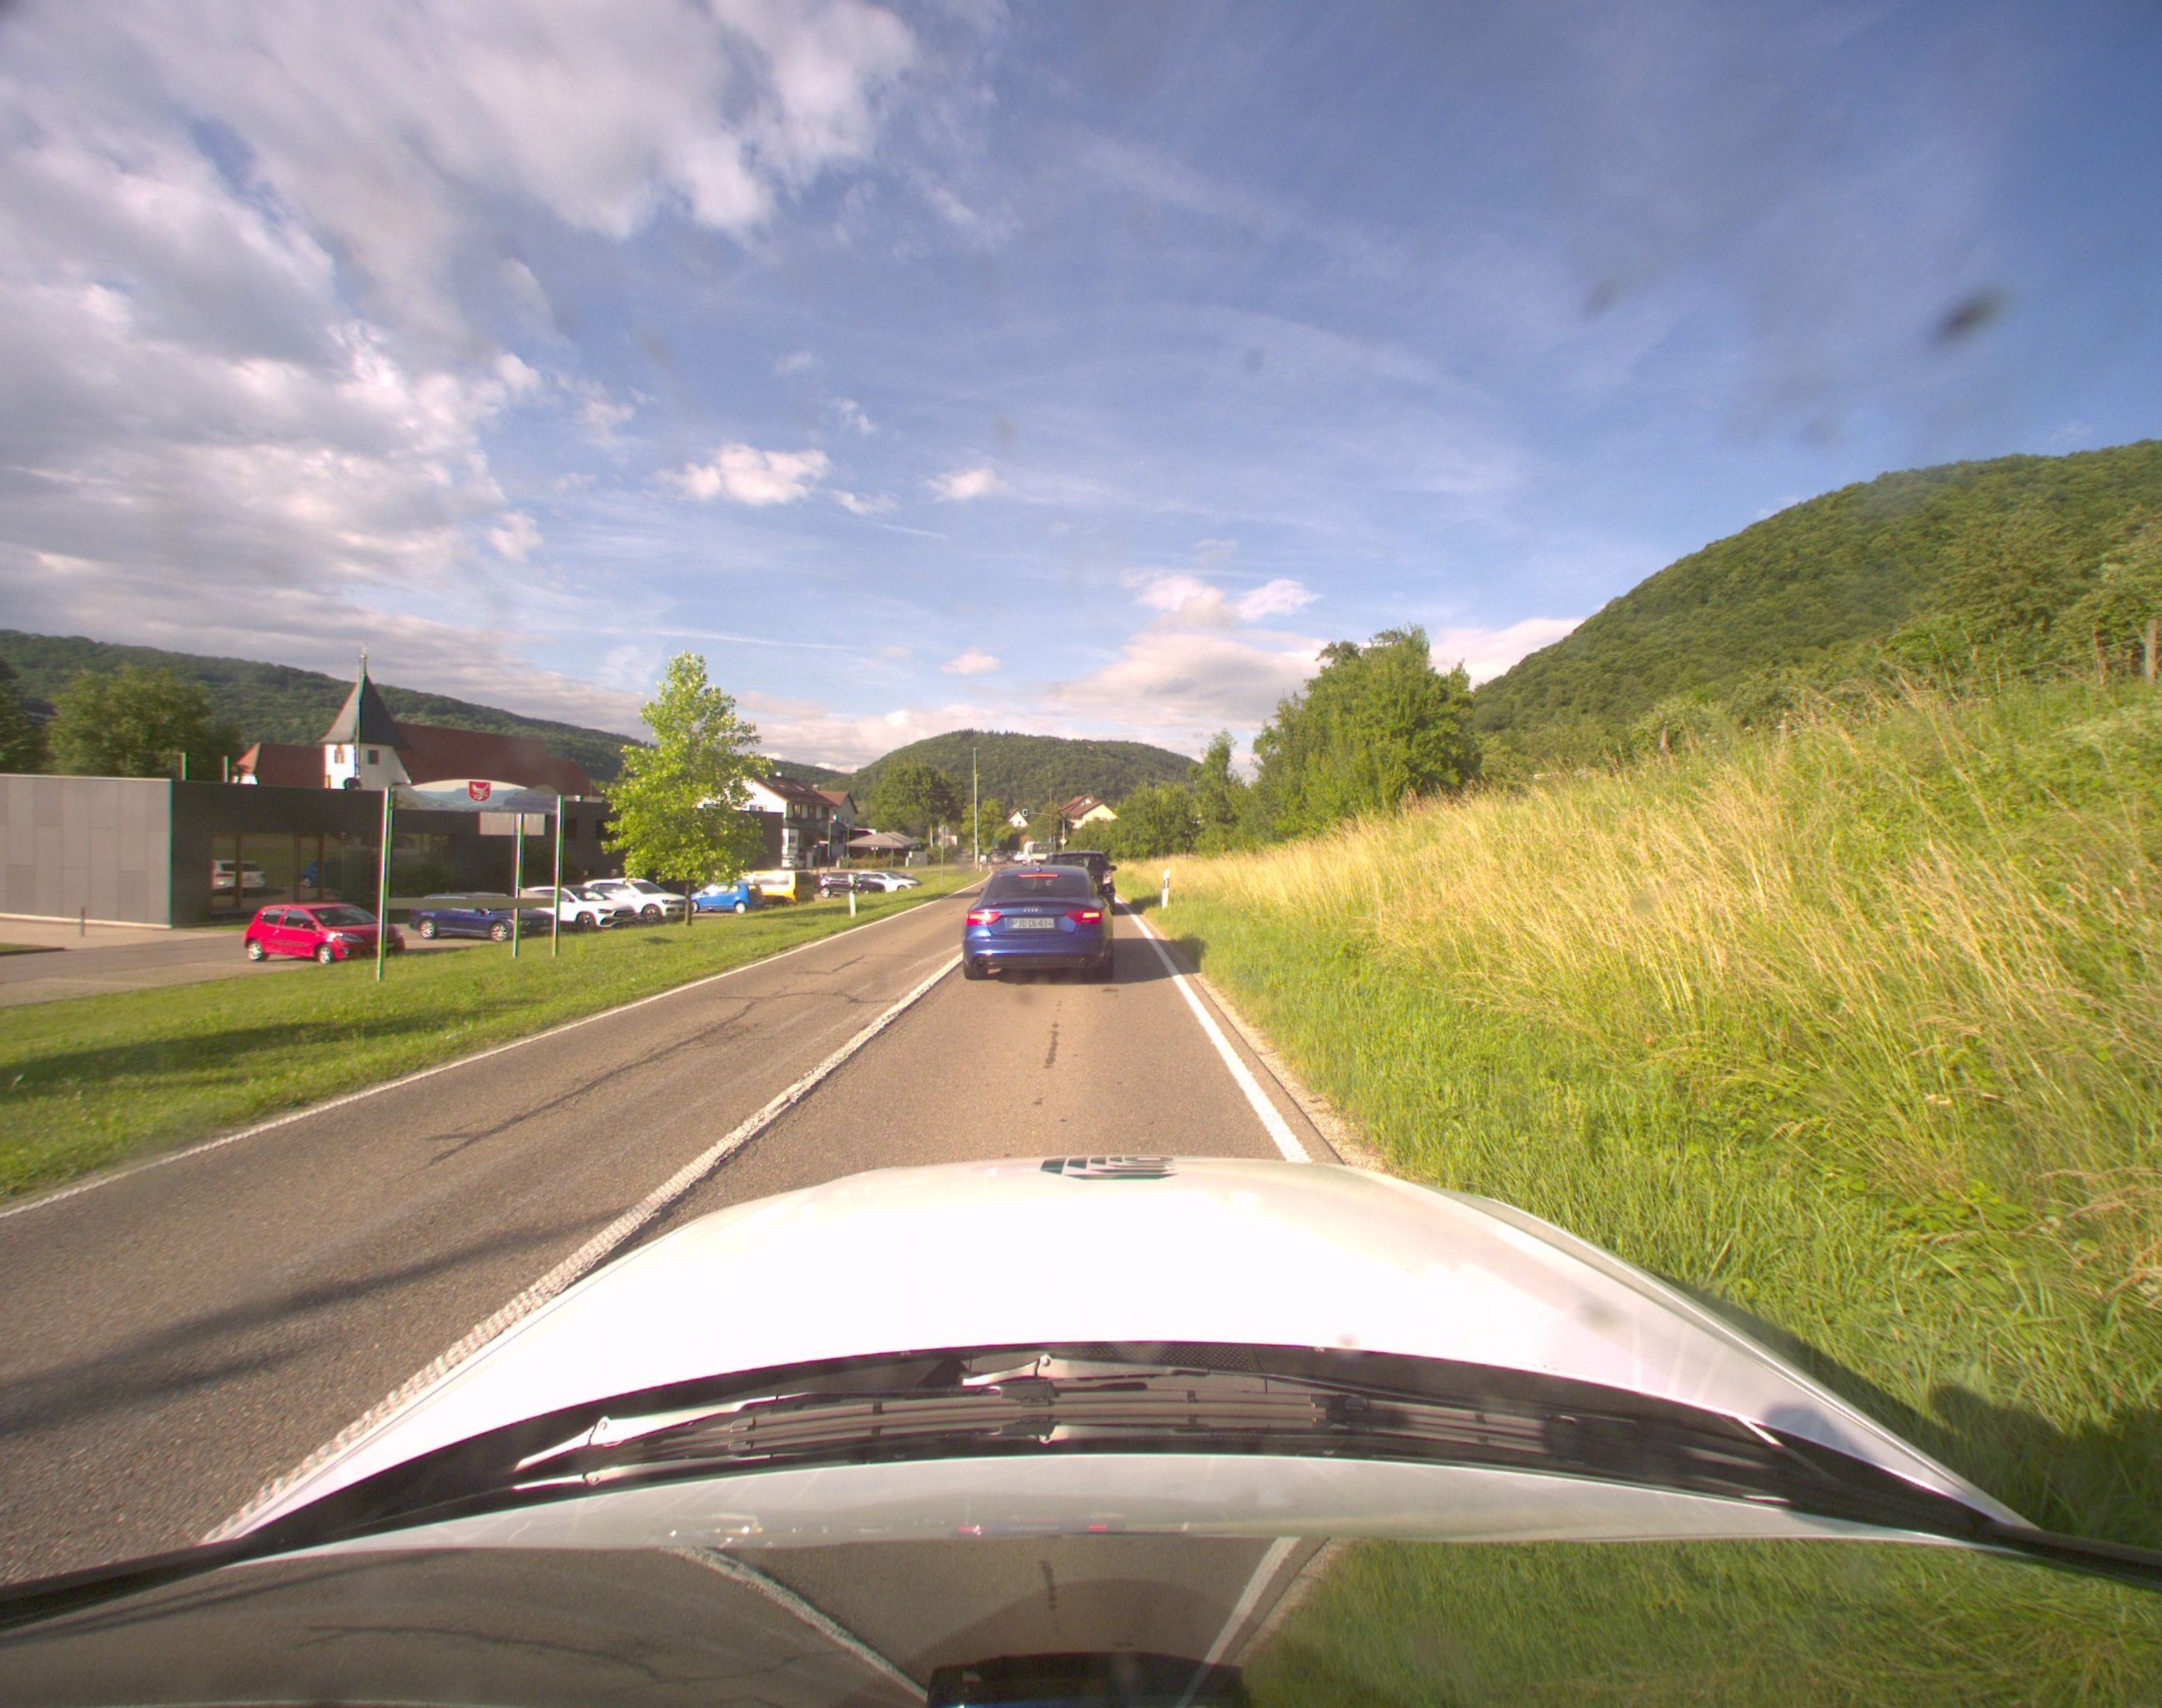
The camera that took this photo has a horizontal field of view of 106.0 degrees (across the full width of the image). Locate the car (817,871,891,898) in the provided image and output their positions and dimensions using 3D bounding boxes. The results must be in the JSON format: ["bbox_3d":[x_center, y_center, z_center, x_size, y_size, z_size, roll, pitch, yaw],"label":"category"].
[{"bbox_3d":[-14.241,1.879,51.183,4.000,1.637,2.005,0,-1,9],"label":"car"}]

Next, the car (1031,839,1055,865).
[{"bbox_3d":[-3.287,-0.172,69.837,1.744,2.195,3.991,0,-1,-6],"label":"car"}]

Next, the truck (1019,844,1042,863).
[{"bbox_3d":[-5.418,-0.017,86.307,1.698,1.953,5.899,0,-1,-11],"label":"truck"}]

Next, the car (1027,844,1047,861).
[{"bbox_3d":[-4.404,-0.159,81.284,1.744,1.639,3.991,0,-1,-6],"label":"car"}]

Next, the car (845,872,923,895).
[{"bbox_3d":[-13.431,1.981,55.585,4.784,1.493,1.886,0,-1,9],"label":"car"}]

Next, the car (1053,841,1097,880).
[{"bbox_3d":[-0.191,0.303,36.370,1.798,1.639,4.465,0,-1,2],"label":"car"}]

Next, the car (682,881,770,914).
[{"bbox_3d":[-16.861,2.057,38.722,3.474,1.472,1.636,0,-1,7],"label":"car"}]

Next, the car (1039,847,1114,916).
[{"bbox_3d":[-0.031,0.667,21.281,1.739,1.639,4.002,0,-1,2],"label":"car"}]

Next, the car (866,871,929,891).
[{"bbox_3d":[-13.089,1.923,58.228,3.967,1.310,1.763,0,-1,5],"label":"car"}]

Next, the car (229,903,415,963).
[{"bbox_3d":[-19.880,2.041,21.385,3.698,1.398,1.620,0,-1,9],"label":"car"}]

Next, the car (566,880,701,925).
[{"bbox_3d":[-18.107,1.950,33.050,4.511,1.703,2.005,0,-1,9],"label":"car"}]

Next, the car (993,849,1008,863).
[{"bbox_3d":[-9.603,0.247,97.485,1.733,1.662,3.463,0,-1,-7],"label":"car"}]

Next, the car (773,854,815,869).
[{"bbox_3d":[-29.074,0.734,82.598,1.749,1.442,4.021,-1,-1,22],"label":"car"}]

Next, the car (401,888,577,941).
[{"bbox_3d":[-19.154,1.924,26.433,4.511,1.555,2.005,0,-1,9],"label":"car"}]

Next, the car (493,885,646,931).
[{"bbox_3d":[-18.597,1.939,29.695,4.511,1.555,2.005,0,-1,9],"label":"car"}]

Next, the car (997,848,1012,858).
[{"bbox_3d":[-11.303,-0.156,120.730,1.700,1.490,3.509,0,-1,-15],"label":"car"}]

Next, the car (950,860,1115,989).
[{"bbox_3d":[-0.461,0.797,10.994,1.788,1.388,4.002,-1,-1,2],"label":"car"}]

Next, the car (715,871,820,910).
[{"bbox_3d":[-15.858,1.822,41.249,4.578,1.868,2.007,-1,-1,13],"label":"car"}]
